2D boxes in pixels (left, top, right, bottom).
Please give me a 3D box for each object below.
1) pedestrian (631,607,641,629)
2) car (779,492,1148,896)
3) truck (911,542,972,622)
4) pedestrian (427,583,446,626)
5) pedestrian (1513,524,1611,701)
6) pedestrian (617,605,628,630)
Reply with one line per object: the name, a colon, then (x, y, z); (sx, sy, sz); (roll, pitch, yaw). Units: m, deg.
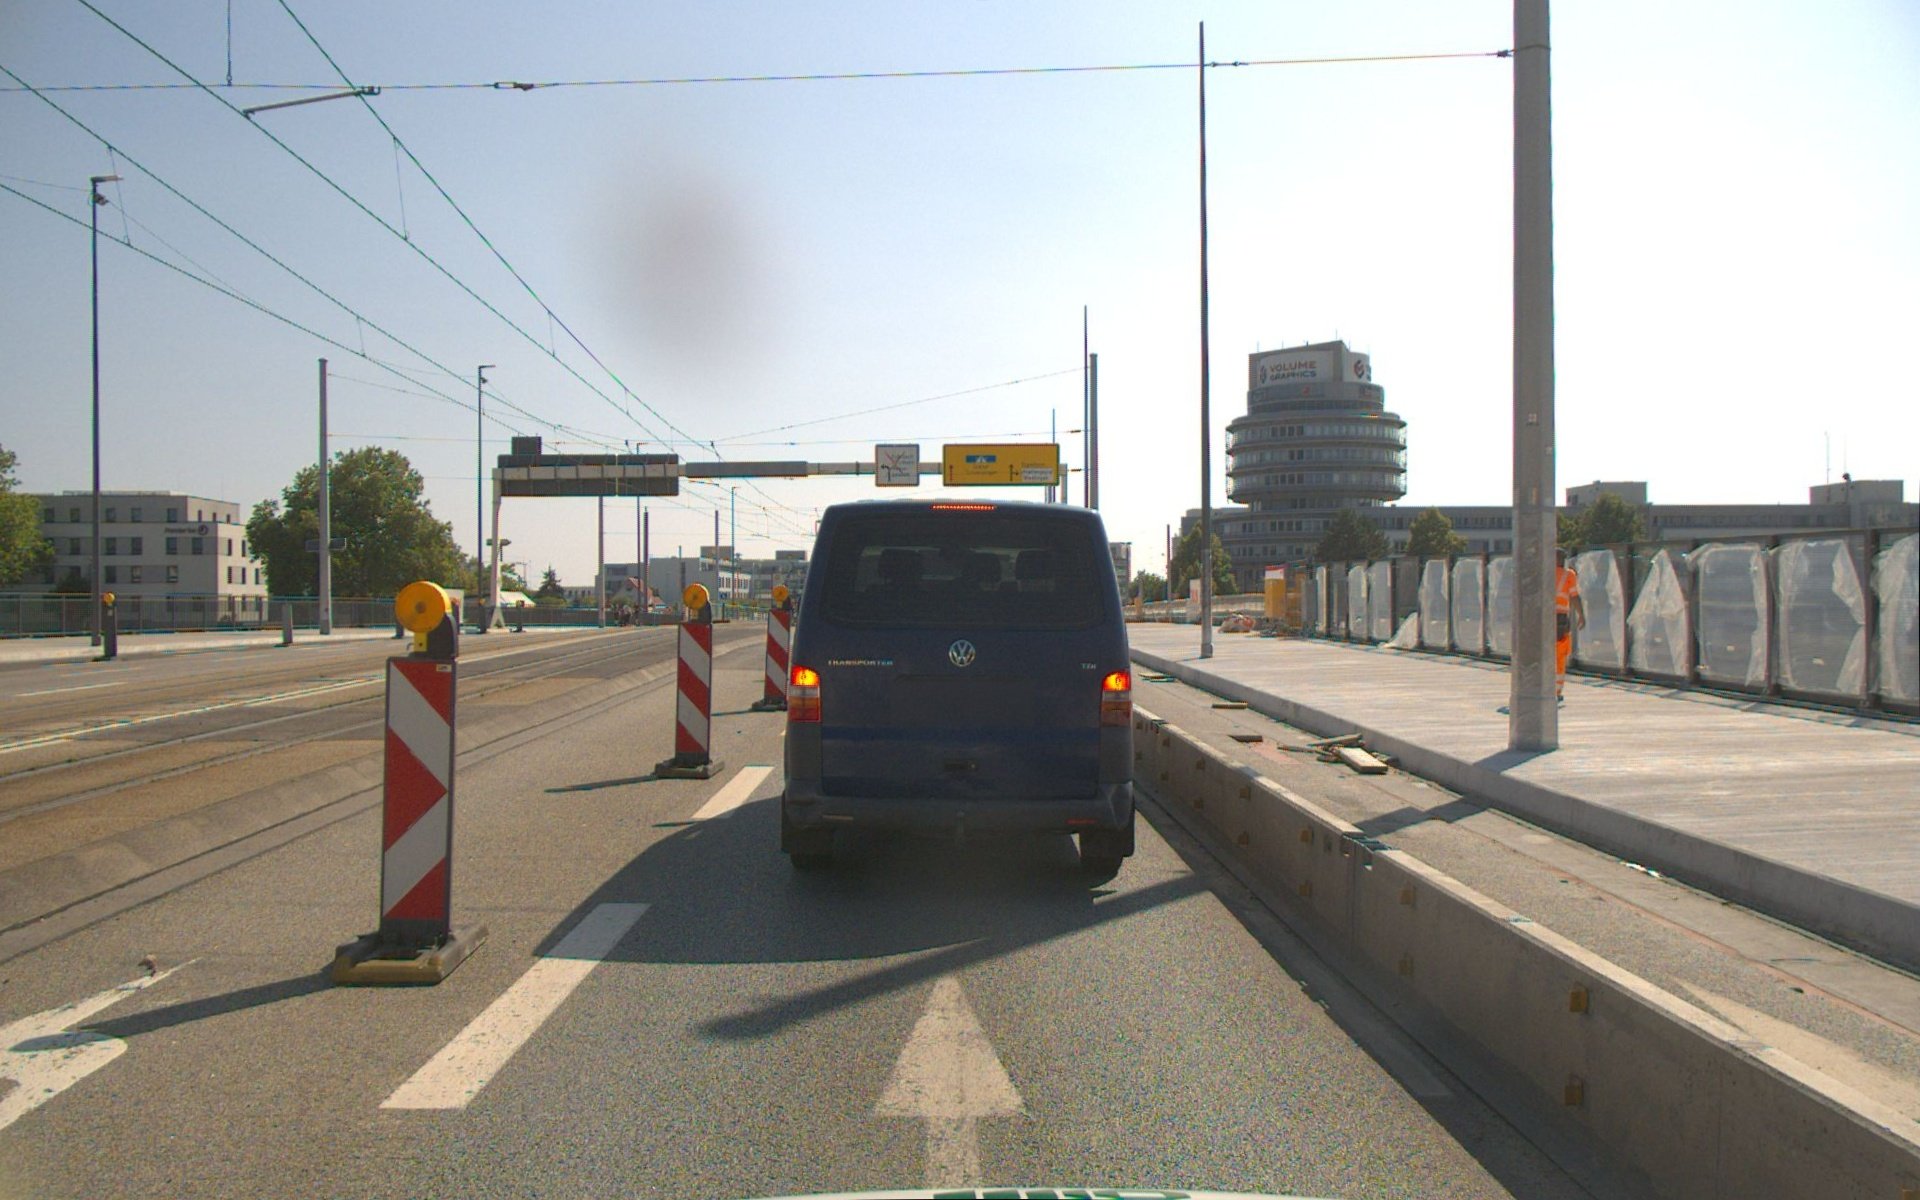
pedestrian: (-24.461, 1.336, 124.865); (0.621, 1.626, 0.752); (1, 0, -1)
car: (-0.030, 0.450, 10.014); (1.779, 1.939, 4.053); (0, 0, -2)
truck: (-0.818, -0.857, 71.979); (2.410, 3.189, 11.215); (0, 1, -1)
pedestrian: (-24.164, 0.204, 76.315); (0.621, 1.926, 0.752); (1, 0, -1)
pedestrian: (6.885, 0.144, 18.956); (0.766, 1.969, 0.799); (-2, 0, -1)
pedestrian: (-24.912, 1.293, 122.162); (0.621, 1.805, 0.752); (1, 0, -1)
